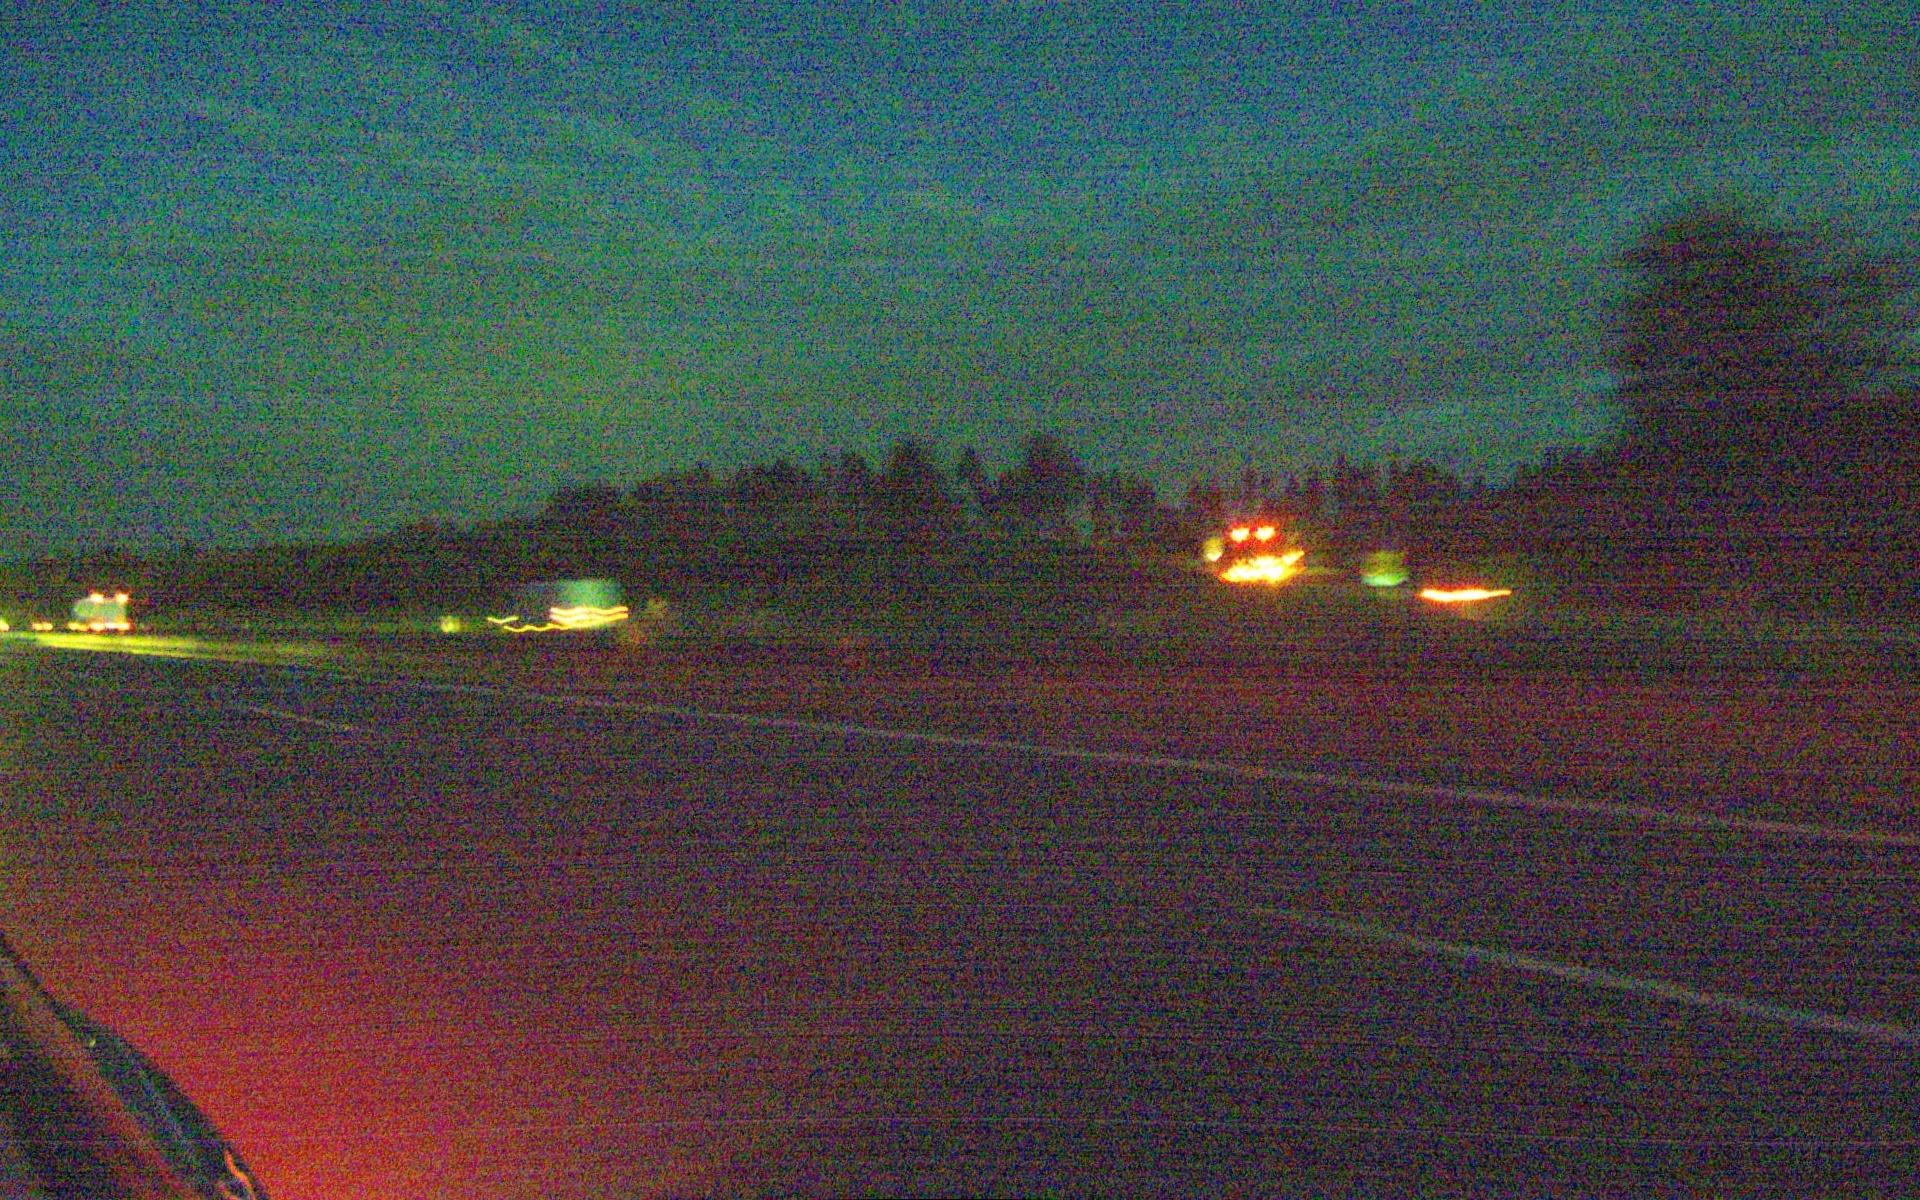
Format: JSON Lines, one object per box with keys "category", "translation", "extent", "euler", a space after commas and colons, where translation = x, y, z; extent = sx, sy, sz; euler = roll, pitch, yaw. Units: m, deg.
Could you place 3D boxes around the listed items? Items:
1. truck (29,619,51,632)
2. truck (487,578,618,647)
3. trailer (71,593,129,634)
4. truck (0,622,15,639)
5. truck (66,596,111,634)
{"category": "truck", "translation": [-135.919, 3.740, 149.491], "extent": [4.762, 1.769, 2.013], "euler": [-1, 0, 42]}
{"category": "truck", "translation": [-18.316, 0.611, 45.202], "extent": [7.621, 2.746, 2.174], "euler": [-2, 2, 42]}
{"category": "trailer", "translation": [-102.387, 1.690, 120.369], "extent": [14.019, 4.467, 3.290], "euler": [-2, 0, 42]}
{"category": "truck", "translation": [-159.158, 5.129, 167.737], "extent": [7.882, 2.661, 2.843], "euler": [-2, 0, 42]}
{"category": "truck", "translation": [-108.233, 1.889, 125.611], "extent": [6.705, 4.467, 3.290], "euler": [-2, 0, 42]}
